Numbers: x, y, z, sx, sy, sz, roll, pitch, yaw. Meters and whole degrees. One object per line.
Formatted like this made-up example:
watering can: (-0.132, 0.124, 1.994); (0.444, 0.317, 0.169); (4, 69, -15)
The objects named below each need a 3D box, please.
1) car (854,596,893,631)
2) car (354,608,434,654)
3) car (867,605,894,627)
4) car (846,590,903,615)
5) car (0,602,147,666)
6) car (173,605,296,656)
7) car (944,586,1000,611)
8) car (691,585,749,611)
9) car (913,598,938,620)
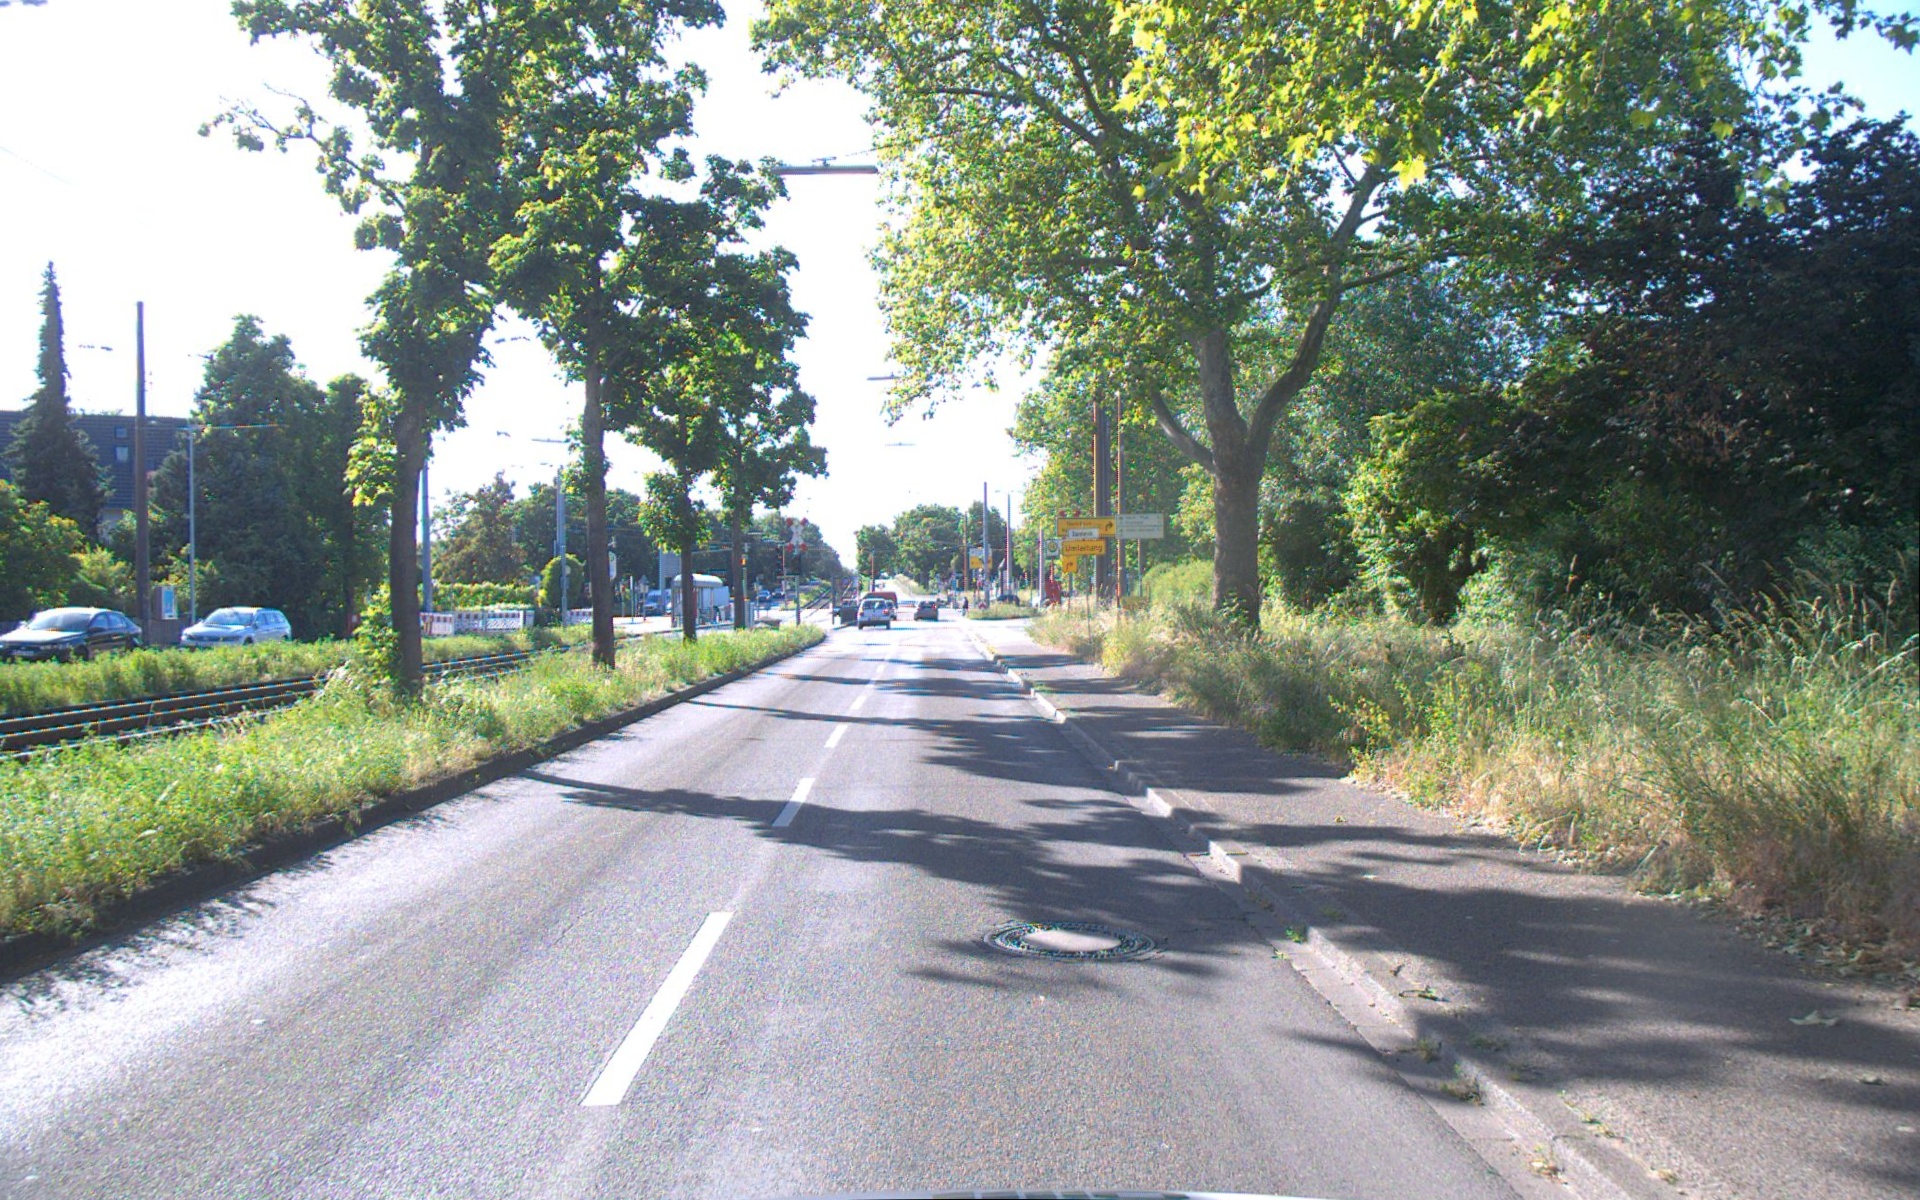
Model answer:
car: (-4.222, 0.659, 81.368); (1.822, 1.629, 4.226); (1, 0, -2)
car: (-22.213, 1.183, 65.077); (1.742, 1.737, 4.226); (1, 0, -2)
car: (-6.049, 1.227, 125.695); (1.953, 1.631, 4.472); (1, 0, -2)
car: (-8.229, 0.249, 158.793); (5.084, 2.315, 1.984); (1, -1, -26)
car: (-21.629, 0.790, 40.100); (1.822, 1.438, 4.157); (1, 0, -2)
car: (-21.813, 0.896, 49.913); (1.822, 1.456, 4.460); (1, 0, -2)
car: (1.182, -0.113, 159.204); (5.084, 2.315, 1.984); (1, -1, -26)
car: (-22.776, -0.205, 157.172); (5.190, 2.396, 1.846); (1, -1, -31)
car: (-2.531, 0.664, 120.660); (1.755, 1.586, 4.226); (1, 0, -2)
